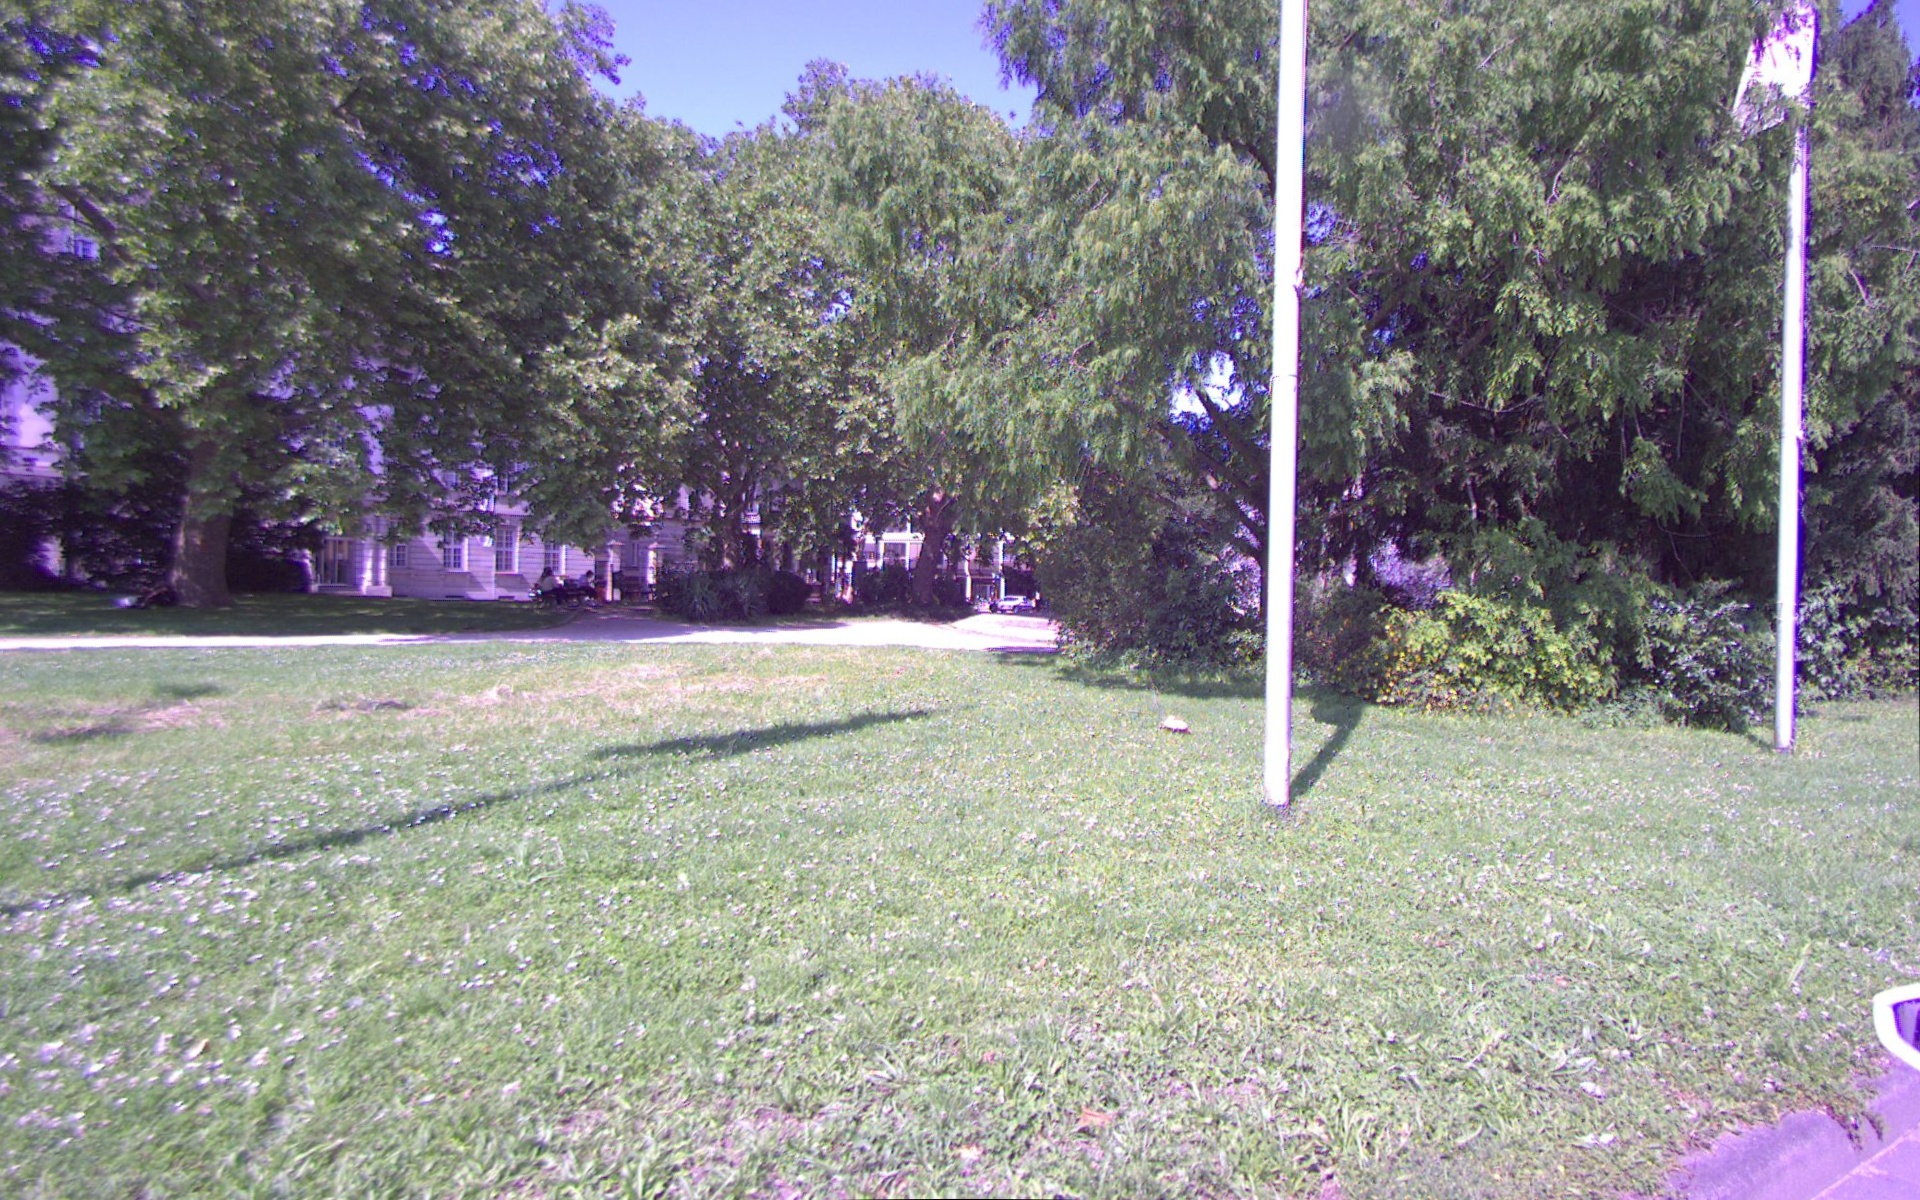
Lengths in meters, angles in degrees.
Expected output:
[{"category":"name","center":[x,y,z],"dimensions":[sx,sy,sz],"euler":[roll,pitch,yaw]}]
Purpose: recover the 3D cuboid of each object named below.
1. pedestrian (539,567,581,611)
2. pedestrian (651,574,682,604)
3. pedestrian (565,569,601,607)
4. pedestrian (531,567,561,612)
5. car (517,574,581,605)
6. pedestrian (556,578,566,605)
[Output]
[{"category":"pedestrian","center":[-11.755,-0.335,29.531],"dimensions":[1.041,1.242,0.754],"euler":[2,1,-15]},{"category":"pedestrian","center":[-12.350,-0.468,42.320],"dimensions":[1.037,1.242,0.756],"euler":[2,1,2]},{"category":"pedestrian","center":[-12.850,-0.411,34.287],"dimensions":[1.041,1.242,0.754],"euler":[2,1,-15]},{"category":"pedestrian","center":[-11.877,-0.307,28.821],"dimensions":[0.659,1.242,0.754],"euler":[2,1,-15]},{"category":"car","center":[-25.703,-0.613,63.015],"dimensions":[1.841,1.824,4.002],"euler":[2,0,10]},{"category":"pedestrian","center":[-24.600,-0.494,61.963],"dimensions":[0.485,1.646,0.376],"euler":[2,0,-28]}]
